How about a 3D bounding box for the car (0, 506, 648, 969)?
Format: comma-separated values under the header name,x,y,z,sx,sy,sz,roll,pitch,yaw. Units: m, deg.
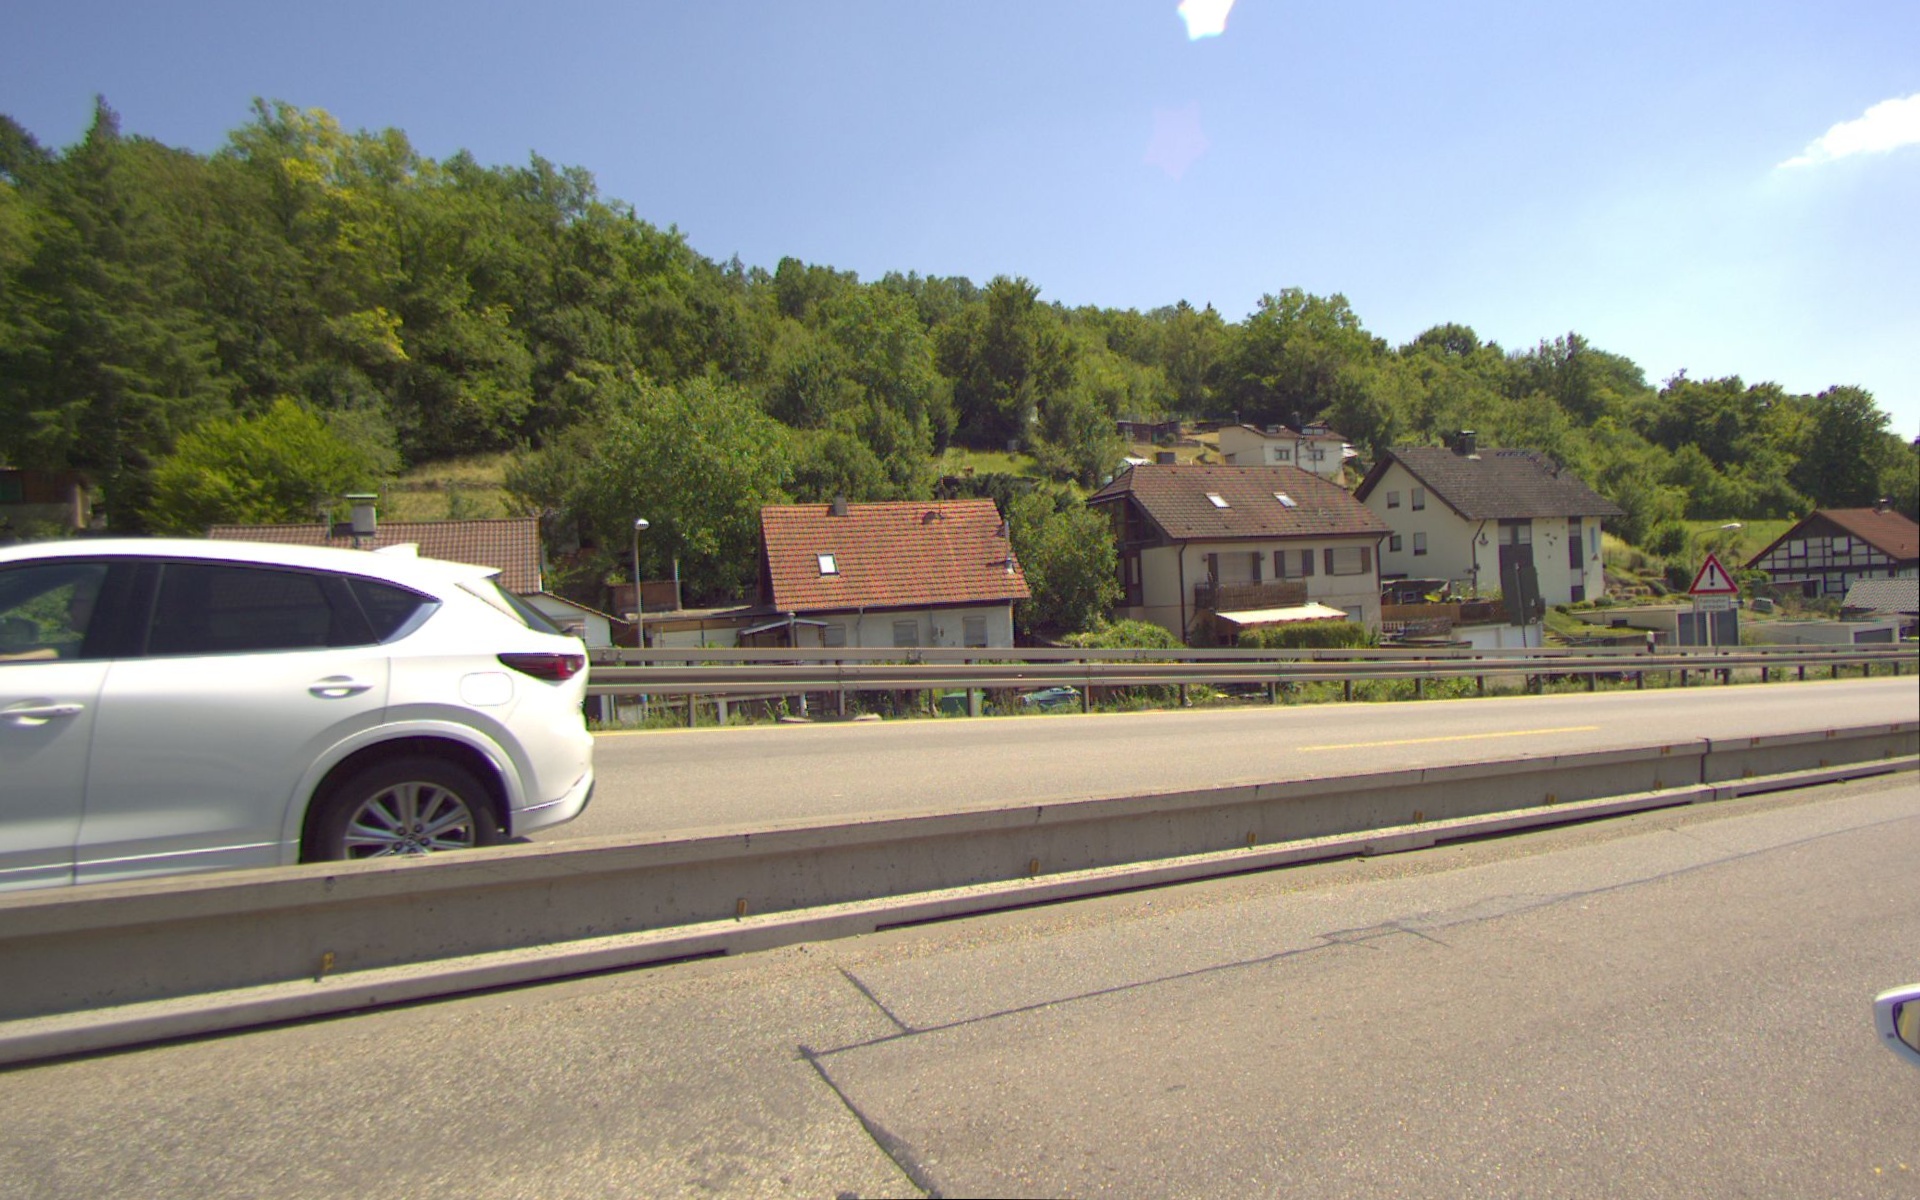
name,x,y,z,sx,sy,sz,roll,pitch,yaw
car,-3.842,0.513,4.546,4.336,1.709,1.741,3,-1,-30
